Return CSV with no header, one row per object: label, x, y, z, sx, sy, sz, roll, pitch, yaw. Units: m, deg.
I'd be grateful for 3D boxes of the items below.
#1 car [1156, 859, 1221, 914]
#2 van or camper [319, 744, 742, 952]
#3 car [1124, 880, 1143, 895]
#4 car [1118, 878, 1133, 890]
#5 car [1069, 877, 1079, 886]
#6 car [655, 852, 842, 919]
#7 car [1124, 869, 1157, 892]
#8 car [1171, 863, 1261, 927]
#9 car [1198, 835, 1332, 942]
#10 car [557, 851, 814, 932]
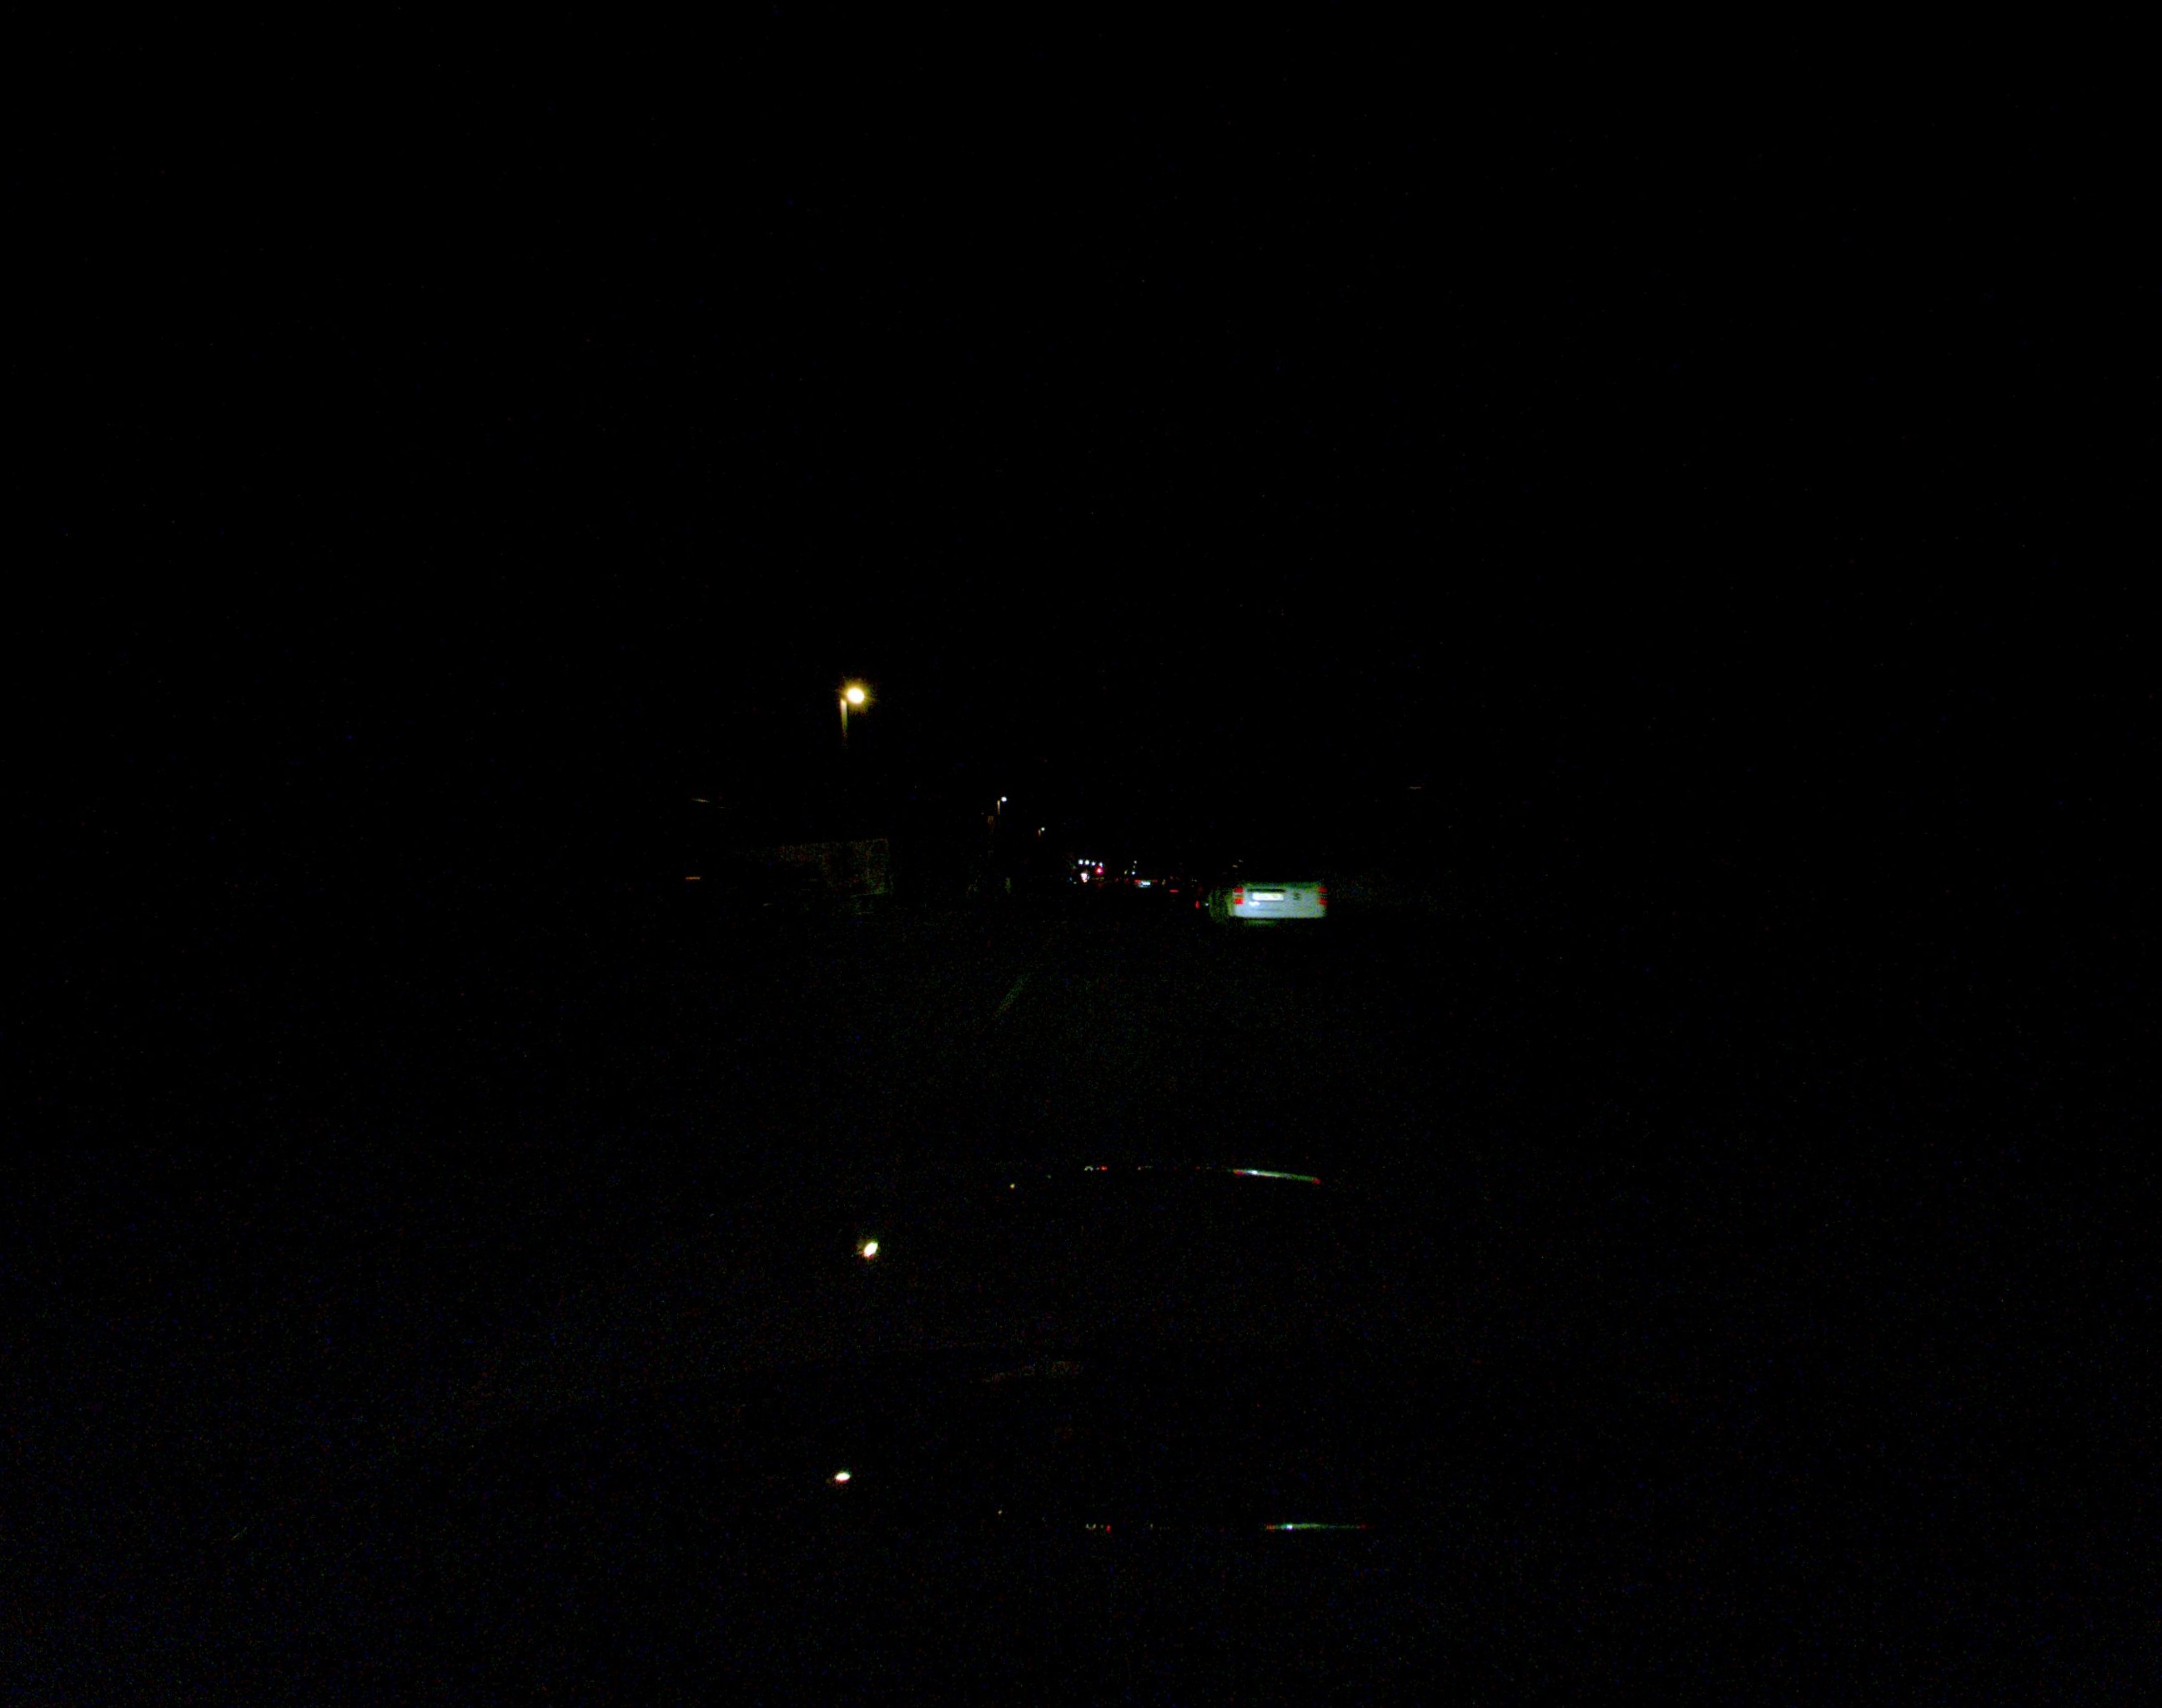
car,3.494,1.049,27.154,1.824,1.664,4.622,0,-2,3
van or camper,-8.825,-0.054,13.631,5.396,3.111,2.126,1,-1,-9
car,5.096,3.290,79.982,1.624,1.439,3.863,1,-2,0
car,5.686,3.799,104.476,1.677,1.449,3.998,1,-2,-1
car,-1.346,4.938,146.613,1.748,1.540,3.727,0,-2,-2
car,-8.118,0.732,20.180,3.797,1.555,1.927,0,0,1
car,4.116,1.825,56.707,1.758,1.476,4.271,2,-2,-2
car,3.454,1.023,21.528,1.737,1.471,4.257,2,-1,1
car,3.428,0.612,16.041,1.712,1.761,4.760,1,-1,2
car,-8.271,0.786,17.351,4.399,1.613,2.066,0,-2,2
